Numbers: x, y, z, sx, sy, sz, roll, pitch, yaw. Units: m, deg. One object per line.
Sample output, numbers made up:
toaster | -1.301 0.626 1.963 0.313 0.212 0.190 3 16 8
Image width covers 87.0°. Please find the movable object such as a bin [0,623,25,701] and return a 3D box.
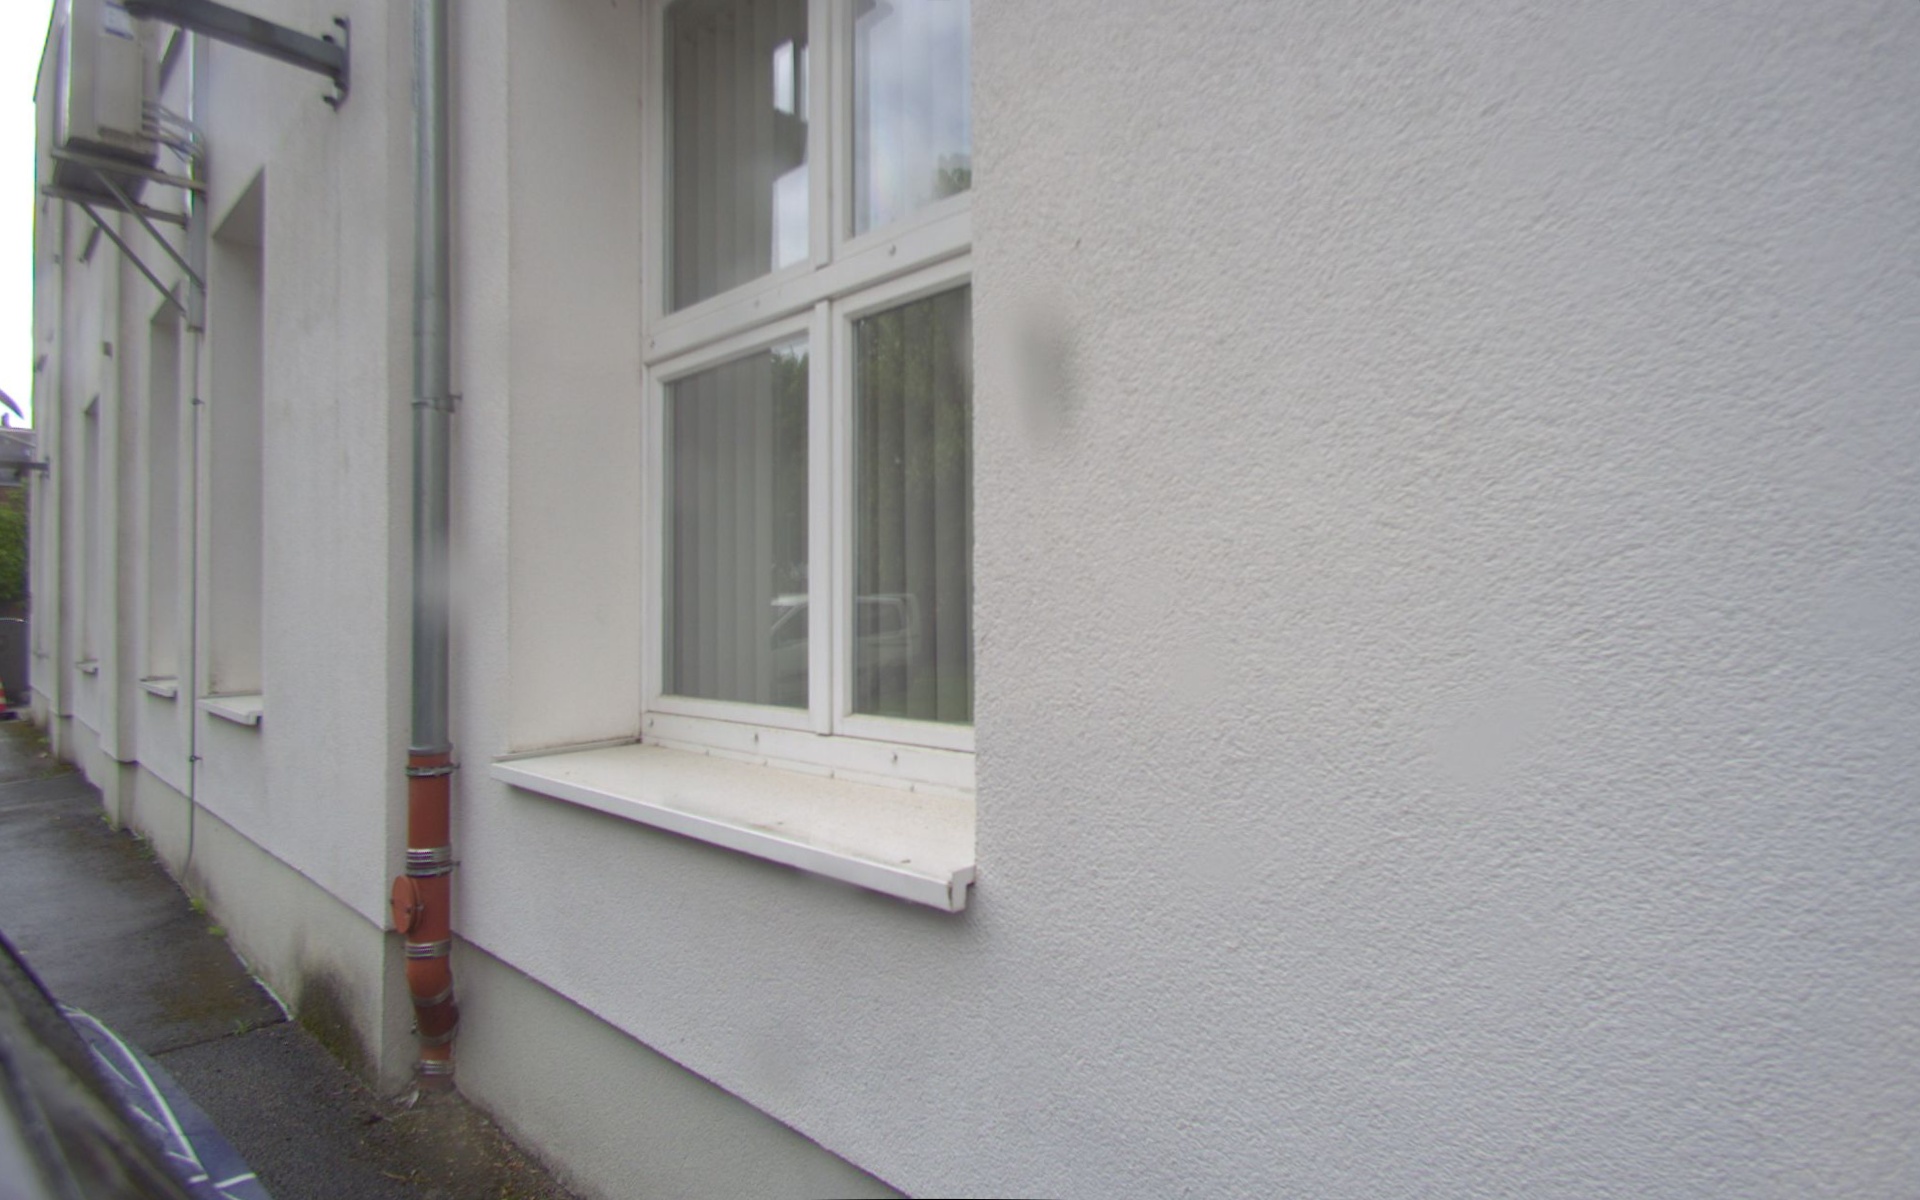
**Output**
movable object such as a bin | -19.372 1.242 19.956 1.400 1.494 1.153 -4 -3 37

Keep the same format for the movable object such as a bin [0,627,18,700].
movable object such as a bin | -20.450 1.313 21.040 1.086 1.484 1.489 -1 -1 -36

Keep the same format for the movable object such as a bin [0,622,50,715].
movable object such as a bin | -16.116 1.117 16.857 1.593 1.494 1.153 -1 -3 39

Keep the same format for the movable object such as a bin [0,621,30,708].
movable object such as a bin | -17.362 1.118 17.862 1.495 1.494 1.153 -1 -3 39
